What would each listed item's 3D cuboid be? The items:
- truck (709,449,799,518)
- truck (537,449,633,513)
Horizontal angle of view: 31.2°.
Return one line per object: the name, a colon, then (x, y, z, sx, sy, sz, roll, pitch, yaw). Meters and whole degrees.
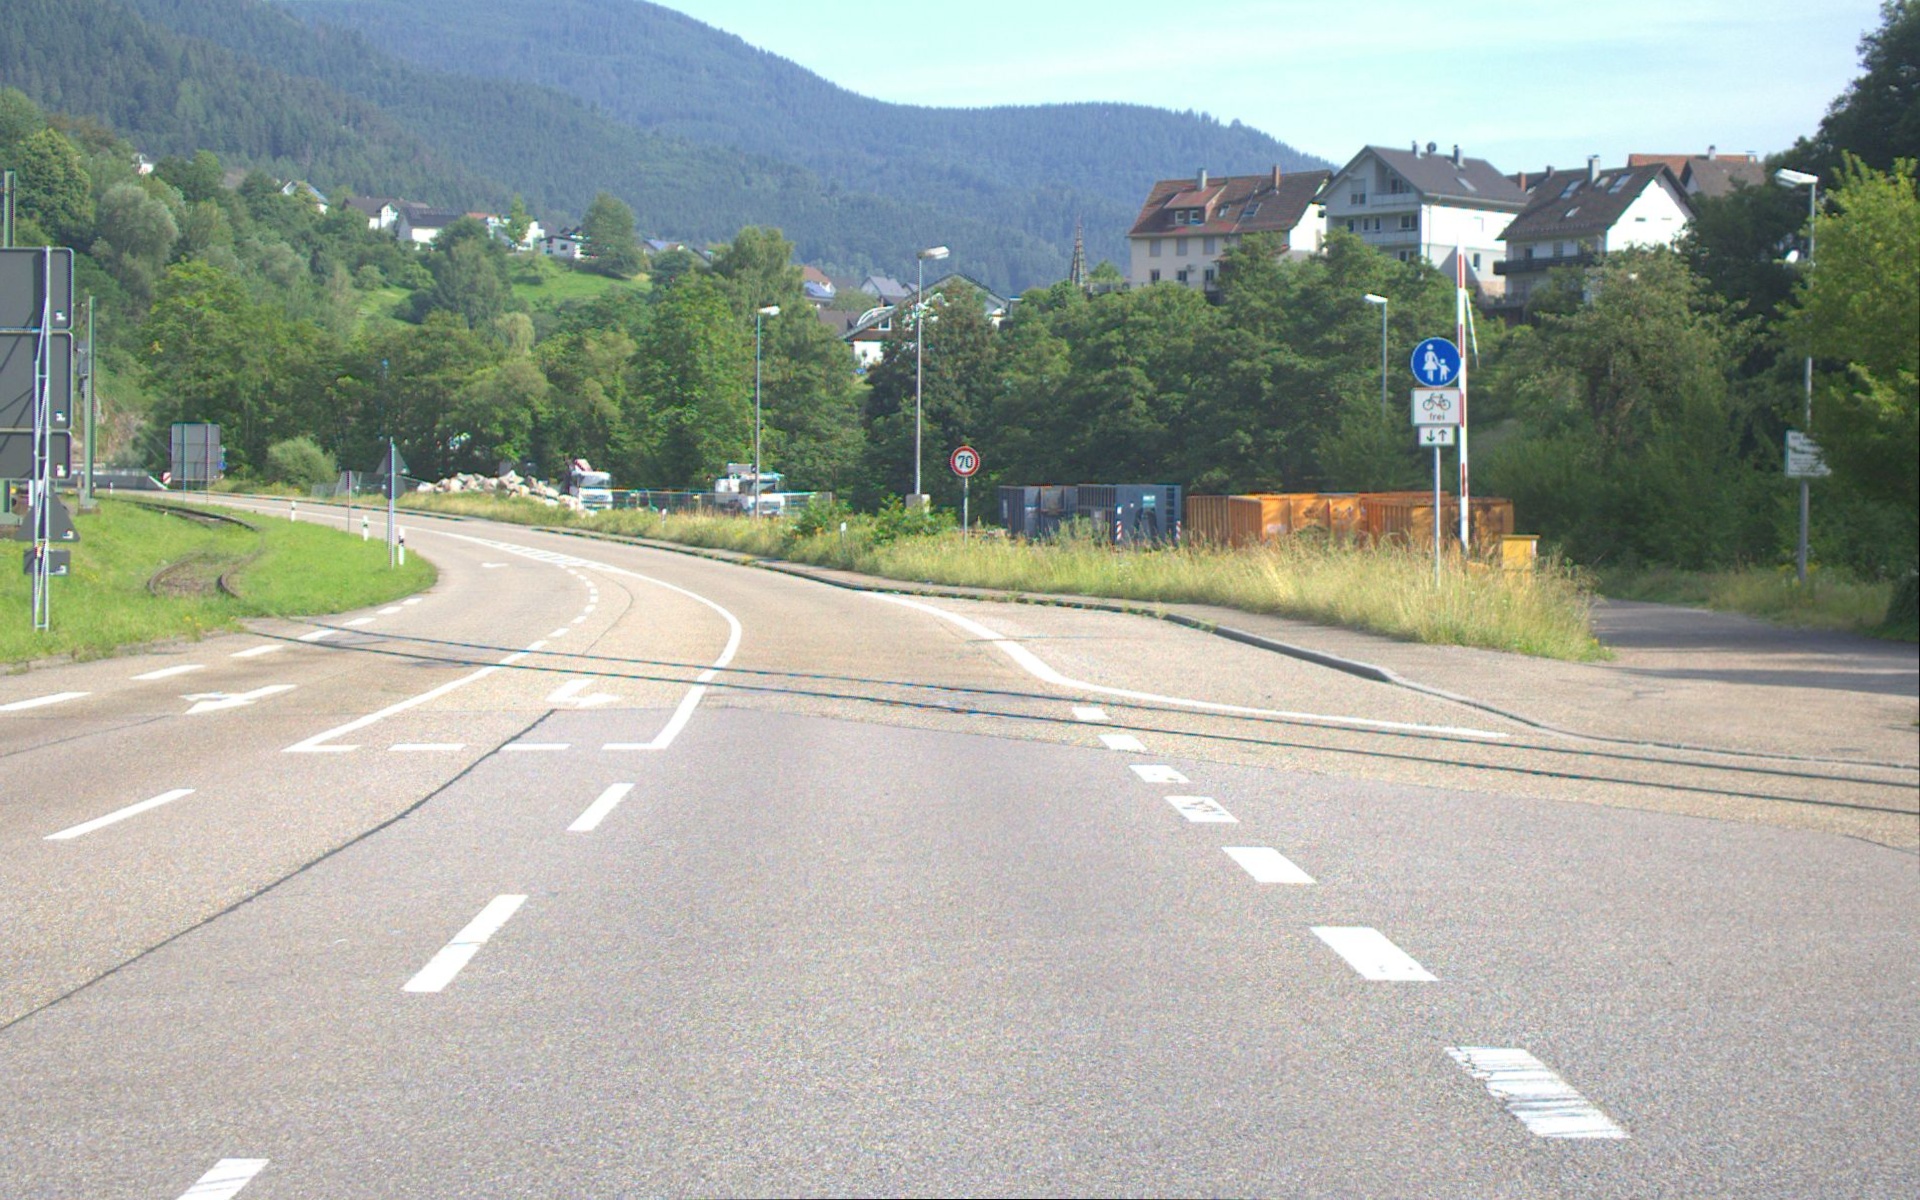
truck: (-11.803, -6.669, 196.211, 3.102, 3.769, 8.648, 1, 2, -17)
truck: (-23.224, -7.401, 212.425, 3.102, 3.769, 8.647, 1, 2, -26)
